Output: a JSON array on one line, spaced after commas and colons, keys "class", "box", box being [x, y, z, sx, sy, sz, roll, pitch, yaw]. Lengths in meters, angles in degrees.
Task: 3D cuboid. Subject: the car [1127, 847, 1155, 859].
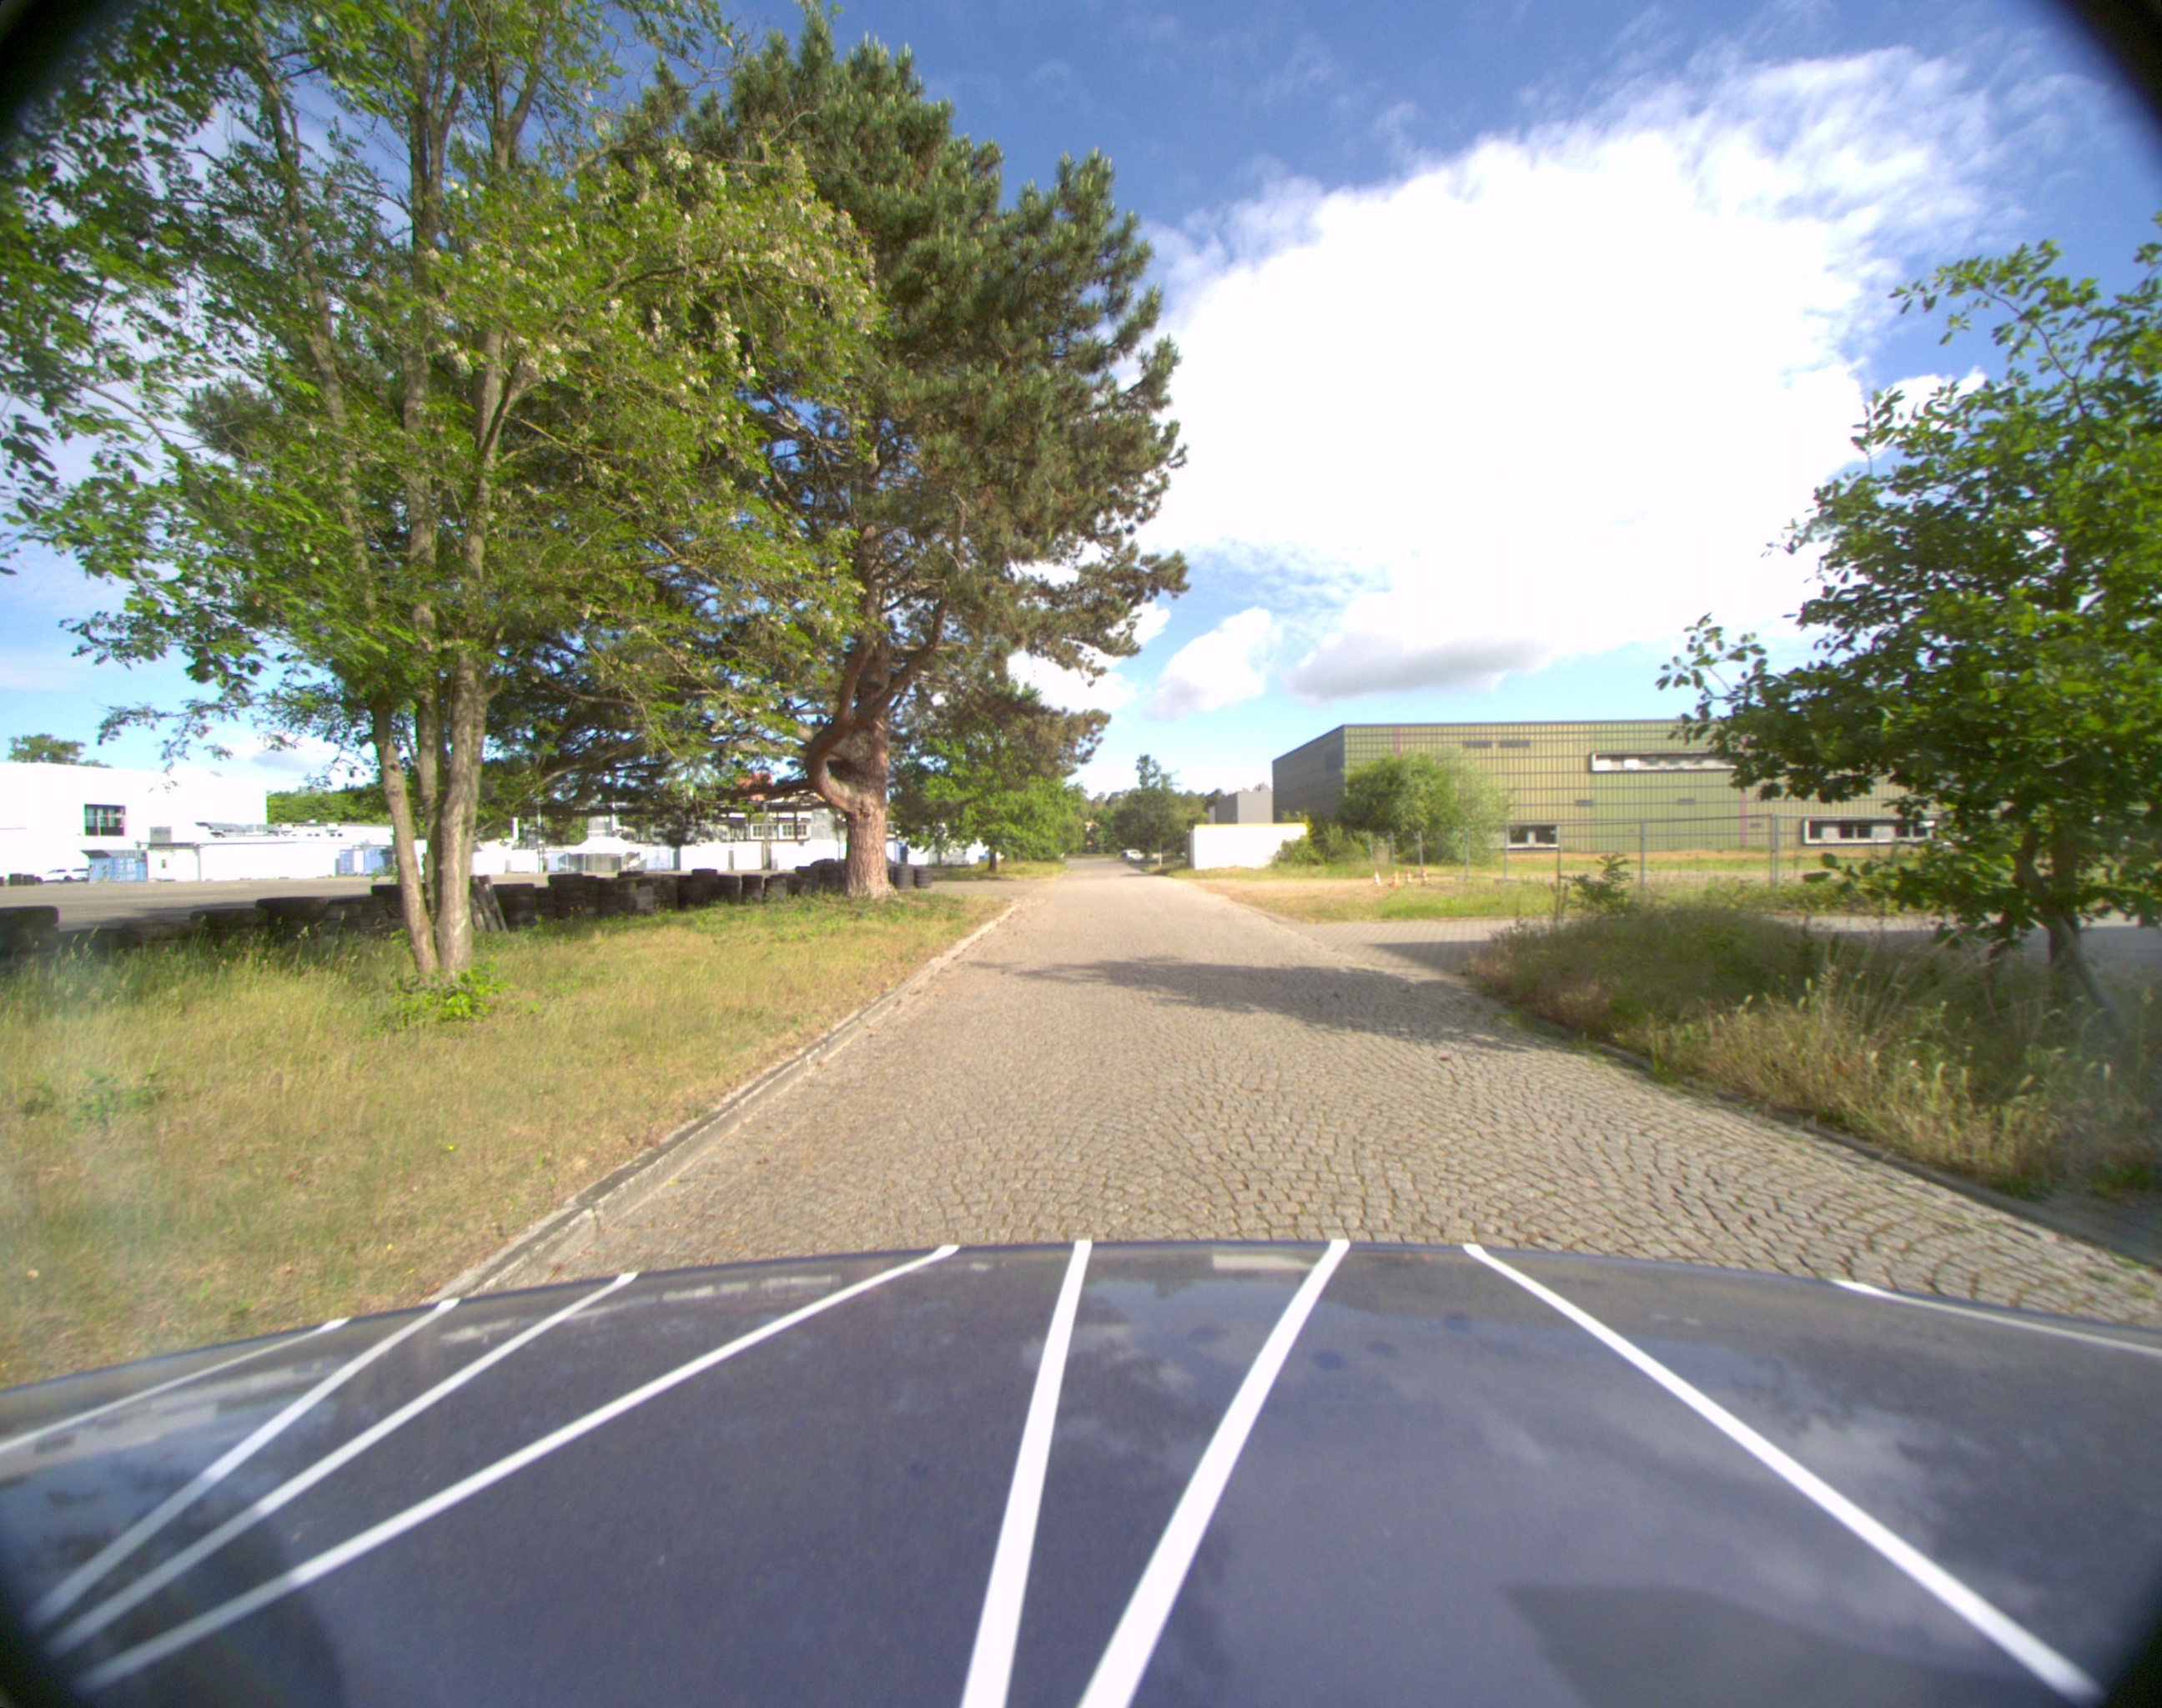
[{"class": "car", "box": [8.639, -0.149, 108.946, 3.996, 1.678, 2.000, -1, 1, 4]}]

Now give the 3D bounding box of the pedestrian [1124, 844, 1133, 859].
[{"class": "pedestrian", "box": [5.454, -0.284, 87.371, 0.908, 1.797, 0.983, -1, 1, -6]}]

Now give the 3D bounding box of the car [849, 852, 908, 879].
[{"class": "car", "box": [-11.545, 0.631, 43.560, 1.846, 1.440, 4.002, -1, 1, 7]}]
